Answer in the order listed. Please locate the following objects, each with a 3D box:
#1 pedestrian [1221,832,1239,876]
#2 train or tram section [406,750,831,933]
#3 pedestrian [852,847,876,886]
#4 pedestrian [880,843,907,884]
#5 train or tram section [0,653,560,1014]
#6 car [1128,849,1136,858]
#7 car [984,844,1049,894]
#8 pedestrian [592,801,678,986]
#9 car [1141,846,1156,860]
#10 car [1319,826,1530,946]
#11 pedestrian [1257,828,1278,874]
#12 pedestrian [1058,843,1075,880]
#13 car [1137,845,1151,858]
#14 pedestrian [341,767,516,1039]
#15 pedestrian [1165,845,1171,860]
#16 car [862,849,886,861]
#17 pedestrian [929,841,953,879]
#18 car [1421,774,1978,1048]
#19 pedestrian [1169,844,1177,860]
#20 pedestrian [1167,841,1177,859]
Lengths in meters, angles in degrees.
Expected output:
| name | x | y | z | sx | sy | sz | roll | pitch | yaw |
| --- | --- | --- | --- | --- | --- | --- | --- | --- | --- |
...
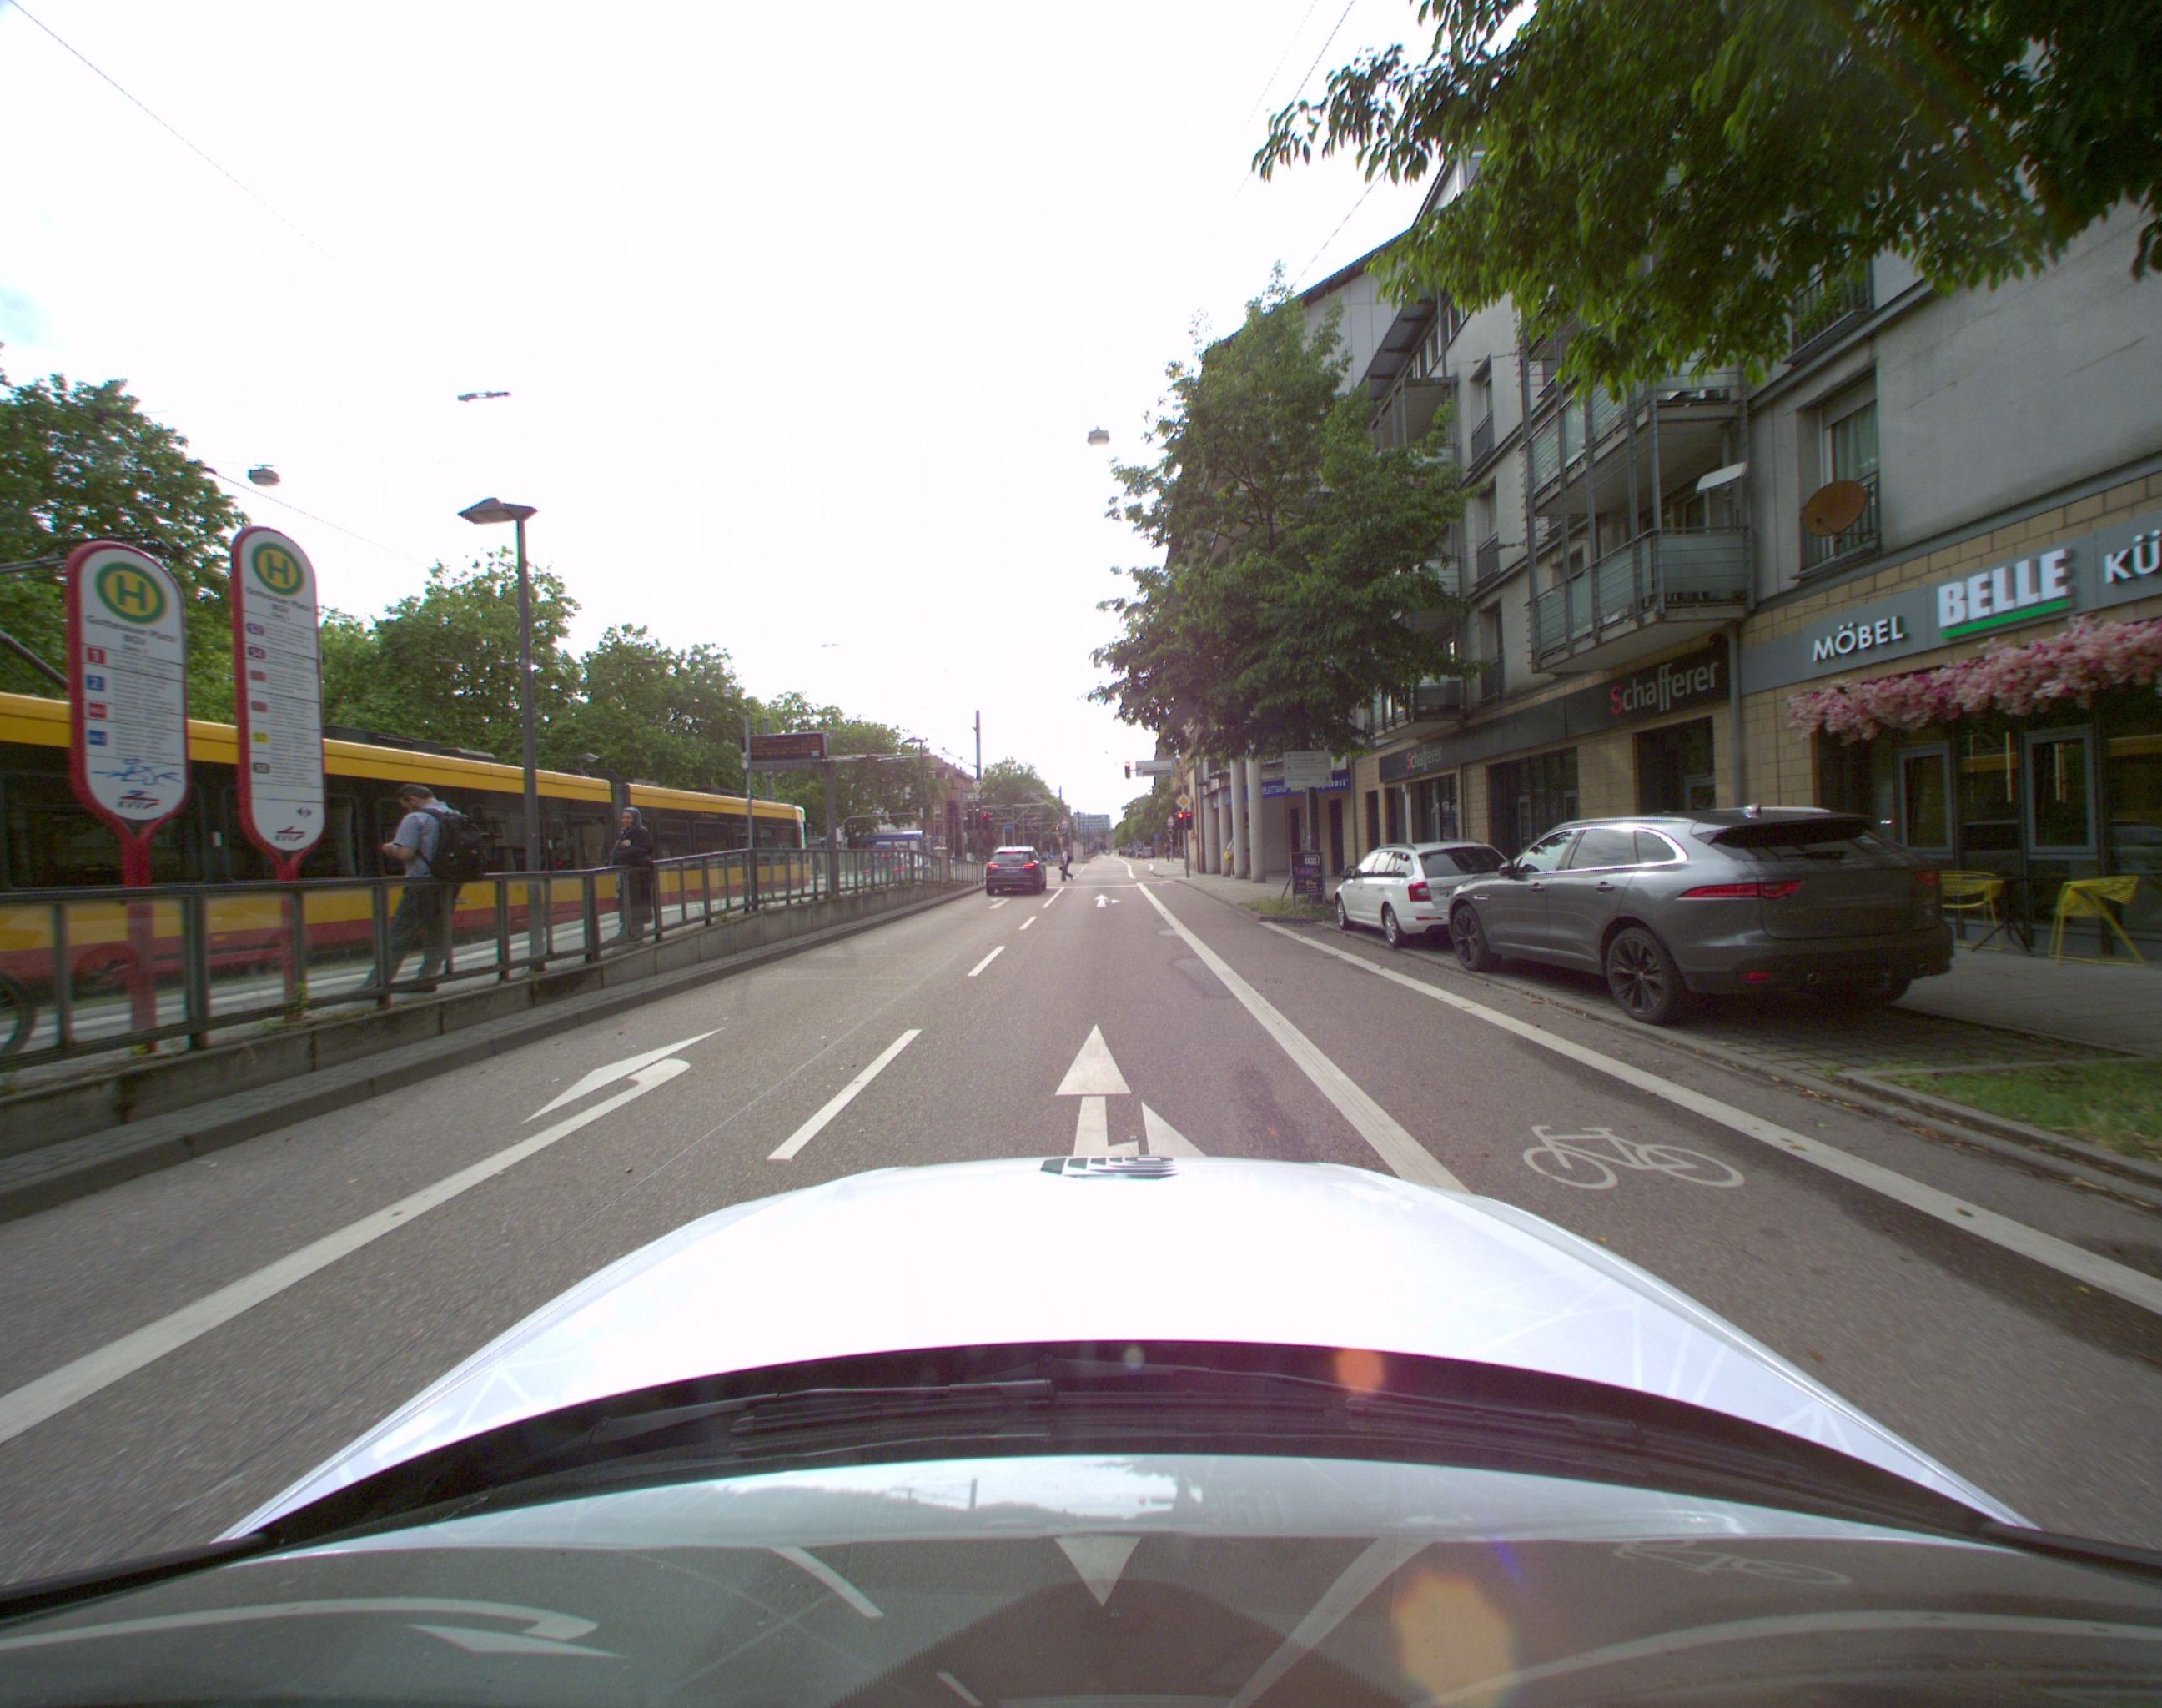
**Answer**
| name | x | y | z | sx | sy | sz | roll | pitch | yaw |
| --- | --- | --- | --- | --- | --- | --- | --- | --- | --- |
| pedestrian | 6.380 | -0.004 | 34.858 | 0.613 | 1.805 | 0.738 | -3 | 0 | 3 |
| train or tram section | -11.610 | -0.273 | 24.073 | 3.048 | 3.588 | 15.855 | -1 | 0 | 2 |
| pedestrian | -10.103 | 0.582 | 37.931 | 1.015 | 1.813 | 0.580 | -1 | 0 | -22 |
| pedestrian | -8.391 | 0.410 | 36.446 | 1.132 | 1.778 | 0.625 | -2 | 0 | -16 |
| train or tram section | -12.103 | -0.184 | 8.510 | 3.048 | 3.531 | 15.301 | -1 | 0 | 2 |
| car | 12.553 | -0.132 | 200.816 | 1.986 | 2.013 | 4.002 | -1 | 0 | 2 |
| car | -2.215 | 0.480 | 29.170 | 1.873 | 1.601 | 4.358 | -1 | 0 | 1 |
| pedestrian | -5.152 | 0.423 | 9.397 | 0.758 | 2.013 | 0.809 | -1 | 0 | -36 |
| car | 9.782 | -0.169 | 118.280 | 1.986 | 2.013 | 4.001 | -1 | 0 | 2 |
| car | 5.287 | 0.426 | 13.221 | 1.669 | 1.498 | 4.393 | -5 | 0 | 3 |
| pedestrian | 7.900 | -0.129 | 34.468 | 0.672 | 1.890 | 0.738 | -3 | 0 | 3 |
| pedestrian | -0.666 | 0.350 | 37.301 | 0.725 | 1.661 | 0.756 | -1 | 0 | 1 |
| car | 9.797 | -0.378 | 127.721 | 1.986 | 2.013 | 4.001 | -1 | 0 | 2 |
| pedestrian | -5.226 | 0.364 | 6.554 | 0.746 | 2.013 | 0.823 | -1 | 0 | 24 |
| pedestrian | 8.644 | -0.162 | 80.685 | 0.544 | 1.537 | 0.465 | -1 | 0 | -3 |
| car | -27.785 | 0.155 | 109.445 | 1.986 | 1.530 | 4.002 | -1 | 0 | 2 |
| pedestrian | -6.748 | 0.289 | 39.261 | 0.906 | 1.784 | 0.651 | -1 | 0 | 39 |
| car | 5.178 | 0.378 | 7.870 | 1.706 | 1.717 | 4.711 | -5 | 0 | 0 |
| pedestrian | 9.063 | -0.164 | 80.237 | 0.651 | 1.537 | 0.465 | -1 | 0 | -3 |
| pedestrian | 8.791 | -0.379 | 78.702 | 0.848 | 1.654 | 0.508 | -1 | 0 | -1 |
